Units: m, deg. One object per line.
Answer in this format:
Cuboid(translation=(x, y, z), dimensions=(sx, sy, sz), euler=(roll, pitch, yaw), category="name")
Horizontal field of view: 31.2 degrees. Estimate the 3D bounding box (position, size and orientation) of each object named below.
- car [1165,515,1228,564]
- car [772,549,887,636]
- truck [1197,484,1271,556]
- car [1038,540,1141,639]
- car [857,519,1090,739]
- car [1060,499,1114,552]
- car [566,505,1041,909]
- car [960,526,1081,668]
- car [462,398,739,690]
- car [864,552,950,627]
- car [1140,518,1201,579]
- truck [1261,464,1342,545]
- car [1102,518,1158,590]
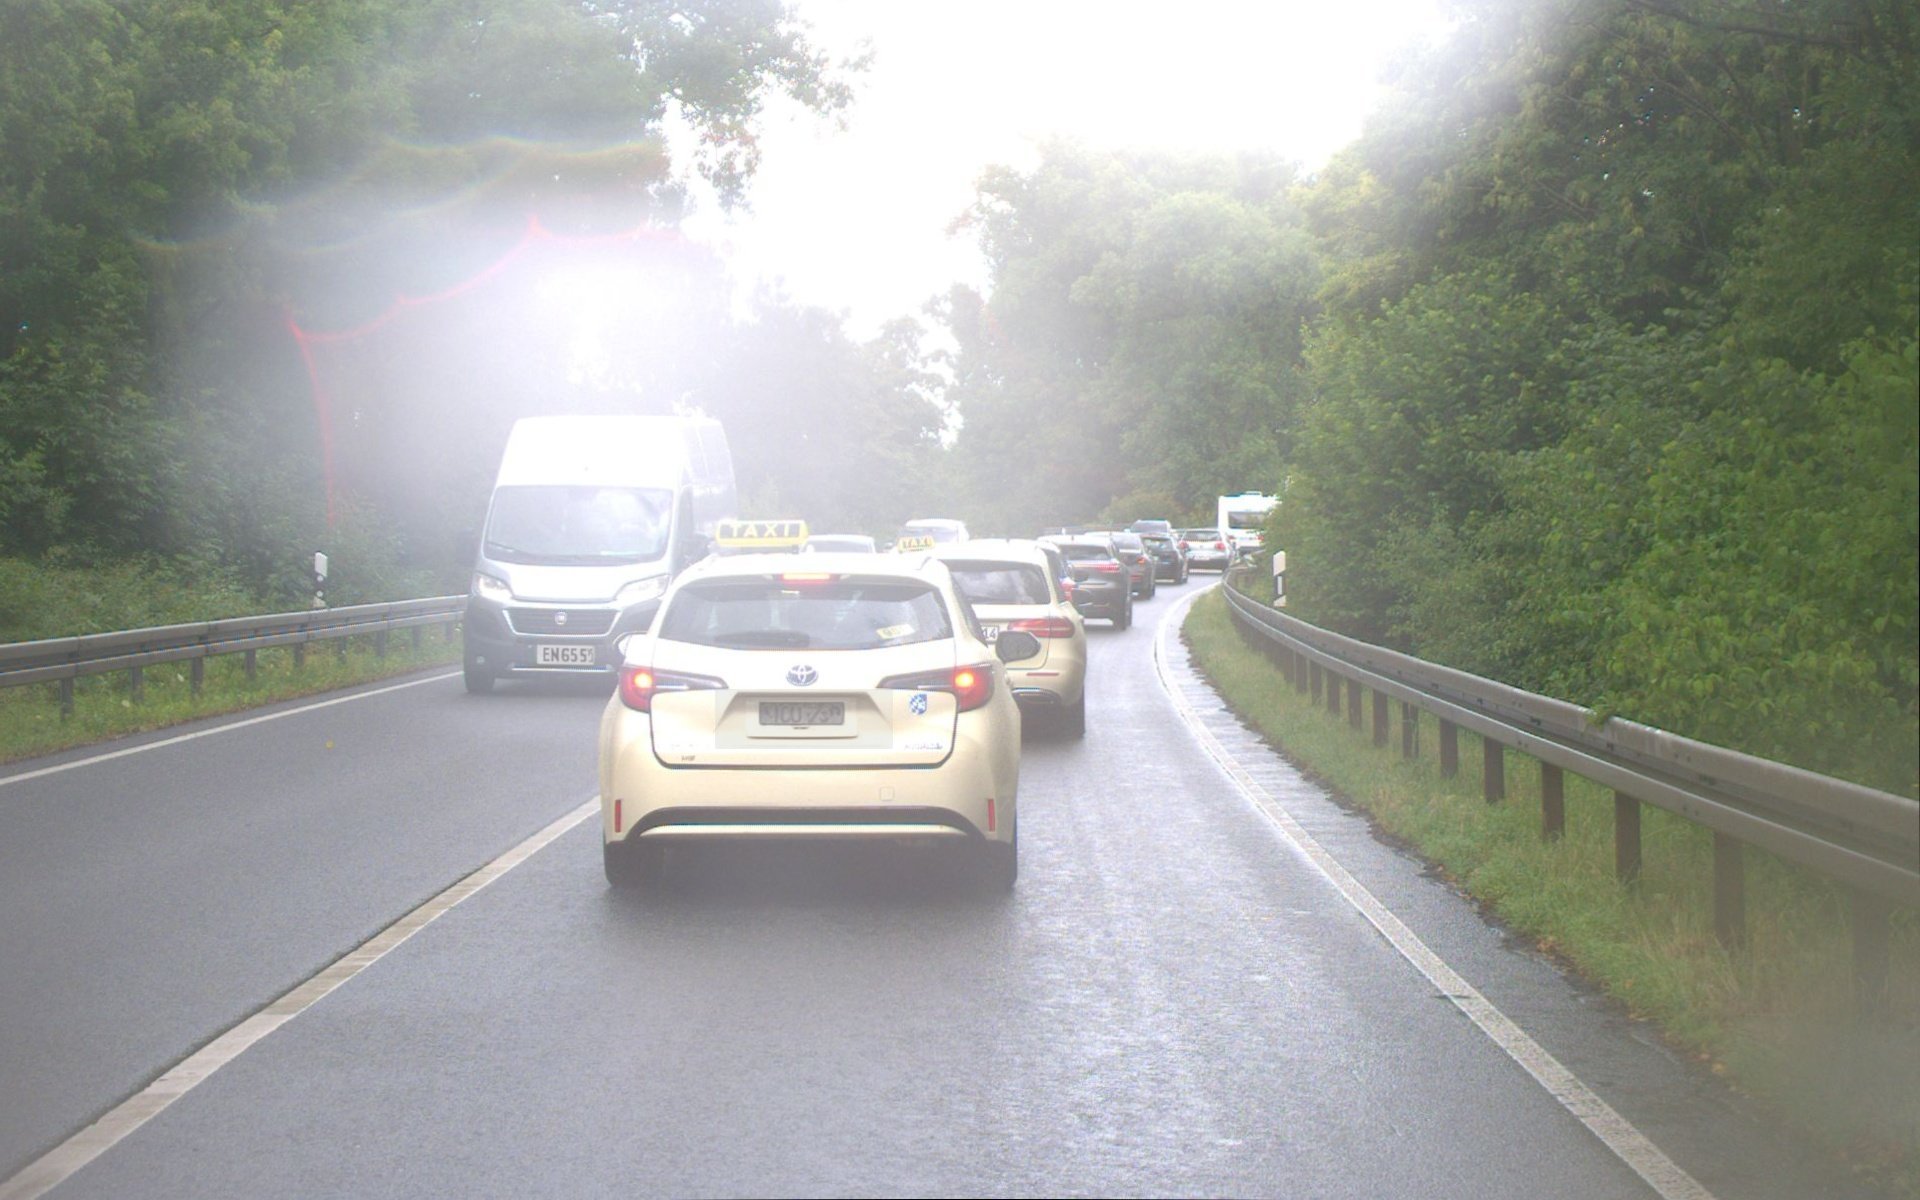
Cuboid(translation=(7.749, -1.957, 112.466), dimensions=(1.770, 1.541, 3.813), euler=(1, 0, 8), category="car")
Cuboid(translation=(-2.226, -0.140, 59.276), dimensions=(1.728, 1.426, 3.849), euler=(1, 0, 1), category="car")
Cuboid(translation=(10.774, -3.116, 135.702), dimensions=(2.550, 2.704, 7.535), euler=(1, 0, 2), category="truck")
Cuboid(translation=(2.065, -0.176, 55.570), dimensions=(1.611, 1.541, 3.814), euler=(0, 0, 1), category="car")
Cuboid(translation=(0.151, 0.193, 26.927), dimensions=(1.667, 1.575, 3.892), euler=(1, 0, 2), category="car")
Cuboid(translation=(5.009, -2.906, 135.342), dimensions=(1.994, 2.007, 4.000), euler=(1, 0, 3), category="car")
Cuboid(translation=(-0.574, 0.406, 15.699), dimensions=(1.834, 1.575, 4.156), euler=(1, 0, 2), category="car")
Cuboid(translation=(0.667, -0.046, 39.479), dimensions=(1.300, 1.541, 3.260), euler=(1, 0, 0), category="car")
Cuboid(translation=(-3.505, -0.535, 34.655), dimensions=(2.048, 2.667, 6.171), euler=(0, 0, 1), category="car")
Cuboid(translation=(-1.228, -0.261, 81.059), dimensions=(1.815, 1.680, 4.622), euler=(1, 0, 2), category="car")
Cuboid(translation=(5.726, -1.391, 93.558), dimensions=(1.616, 1.607, 3.621), euler=(1, 0, 3), category="car")
Cuboid(translation=(16.362, -4.513, 164.280), dimensions=(3.109, 3.668, 6.996), euler=(1, 0, 12), category="truck")
Cuboid(translation=(3.757, -0.998, 75.814), dimensions=(1.167, 1.541, 2.604), euler=(1, 0, 4), category="car")
